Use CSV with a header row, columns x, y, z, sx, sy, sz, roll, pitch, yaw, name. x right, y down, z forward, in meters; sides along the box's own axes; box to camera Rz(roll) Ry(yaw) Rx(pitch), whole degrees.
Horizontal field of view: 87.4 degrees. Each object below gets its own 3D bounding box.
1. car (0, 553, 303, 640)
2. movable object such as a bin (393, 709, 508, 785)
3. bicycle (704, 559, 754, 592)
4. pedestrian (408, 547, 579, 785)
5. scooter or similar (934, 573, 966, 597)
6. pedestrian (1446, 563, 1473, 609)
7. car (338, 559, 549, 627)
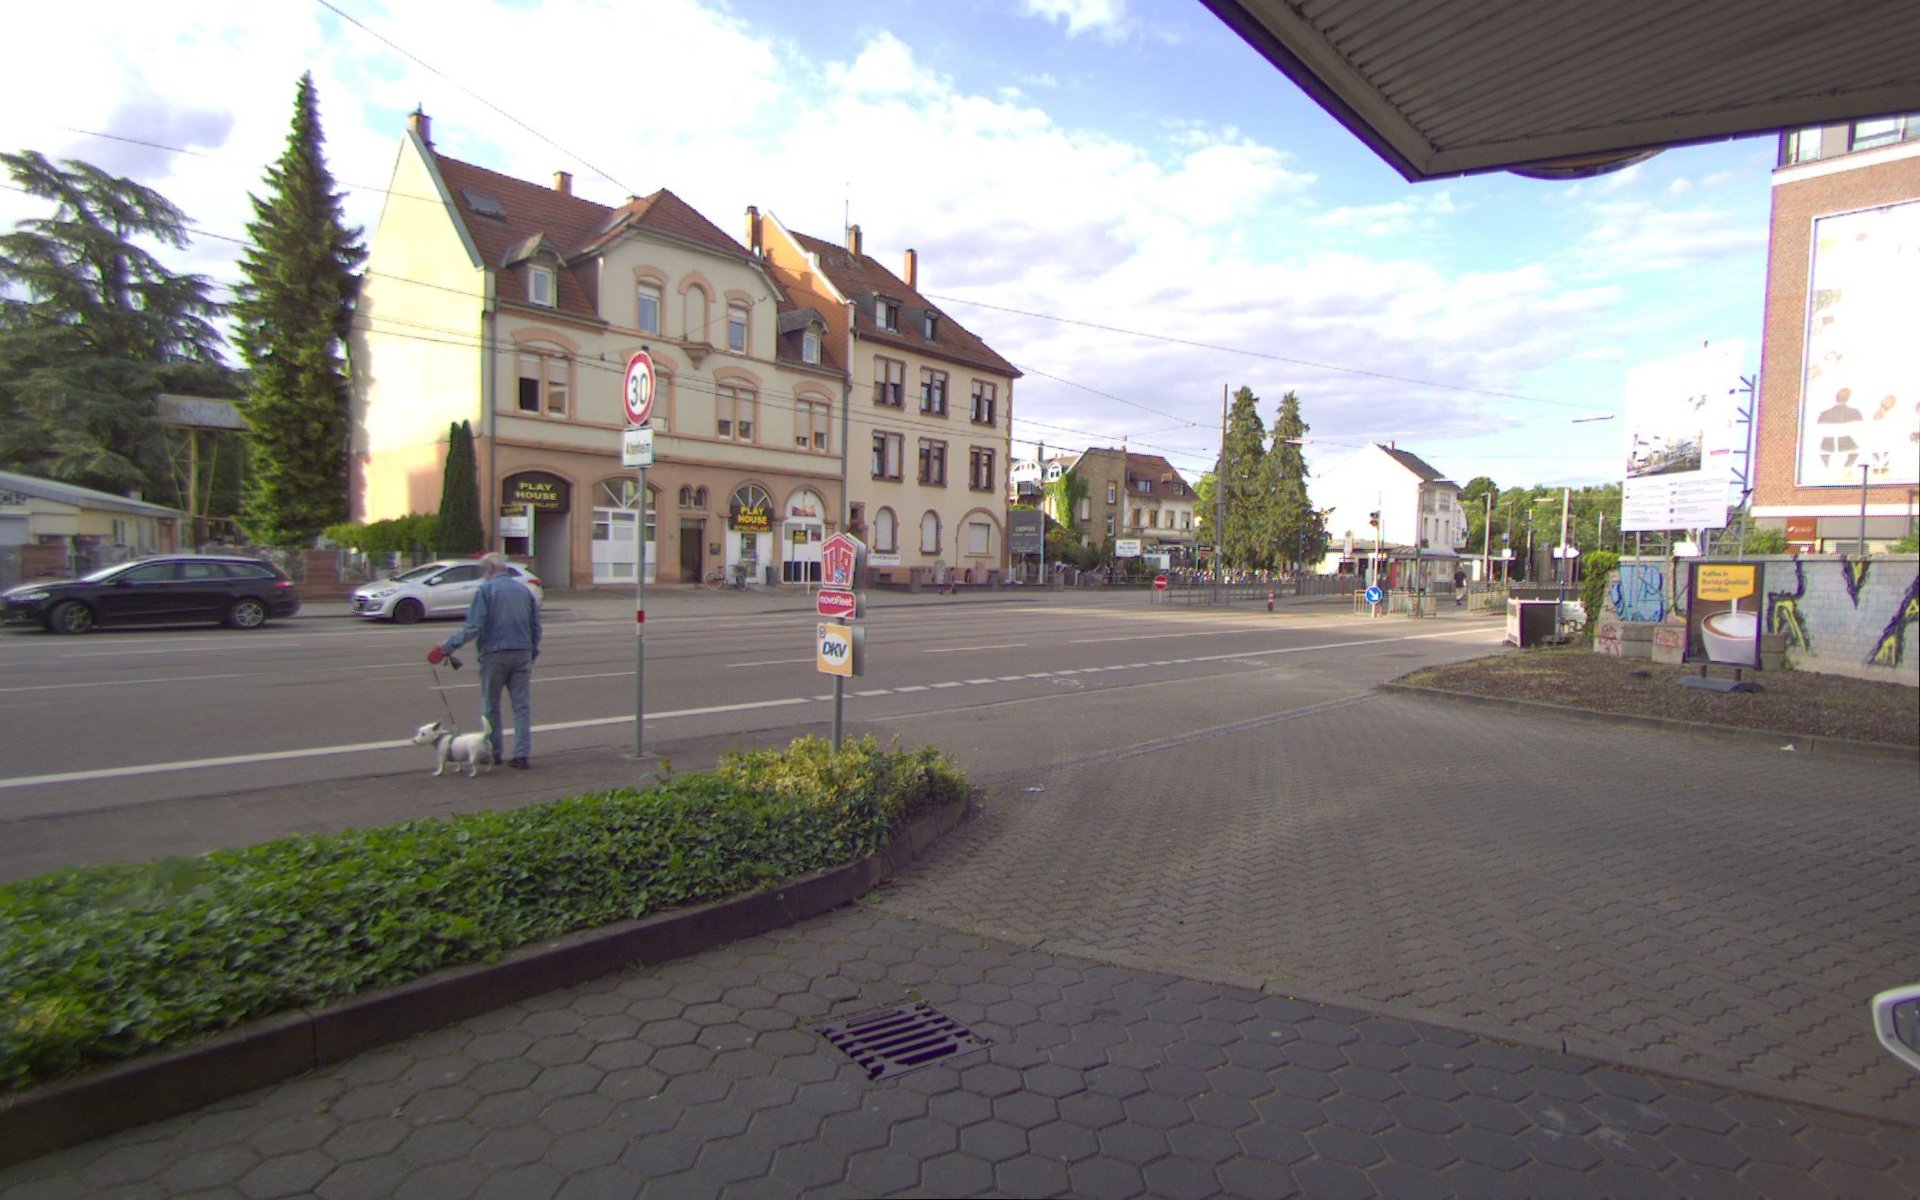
x,y,z,sx,sy,sz,roll,pitch,yaw,name
-16.603,-0.136,20.734,1.983,1.520,4.755,4,4,39,car
-3.849,1.095,7.596,0.667,0.426,0.480,3,3,28,movable object such as a bin
-9.110,-0.954,39.610,0.665,1.229,1.862,4,2,41,bicycle
-3.657,0.454,7.866,0.996,1.690,0.959,-1,4,-41,pedestrian
-0.439,-0.664,45.111,0.461,1.041,1.655,4,3,40,scooter or similar
22.931,-0.641,46.092,0.844,2.040,0.799,2,0,-40,pedestrian
-12.922,-0.232,25.356,1.699,1.503,4.434,4,4,40,car
